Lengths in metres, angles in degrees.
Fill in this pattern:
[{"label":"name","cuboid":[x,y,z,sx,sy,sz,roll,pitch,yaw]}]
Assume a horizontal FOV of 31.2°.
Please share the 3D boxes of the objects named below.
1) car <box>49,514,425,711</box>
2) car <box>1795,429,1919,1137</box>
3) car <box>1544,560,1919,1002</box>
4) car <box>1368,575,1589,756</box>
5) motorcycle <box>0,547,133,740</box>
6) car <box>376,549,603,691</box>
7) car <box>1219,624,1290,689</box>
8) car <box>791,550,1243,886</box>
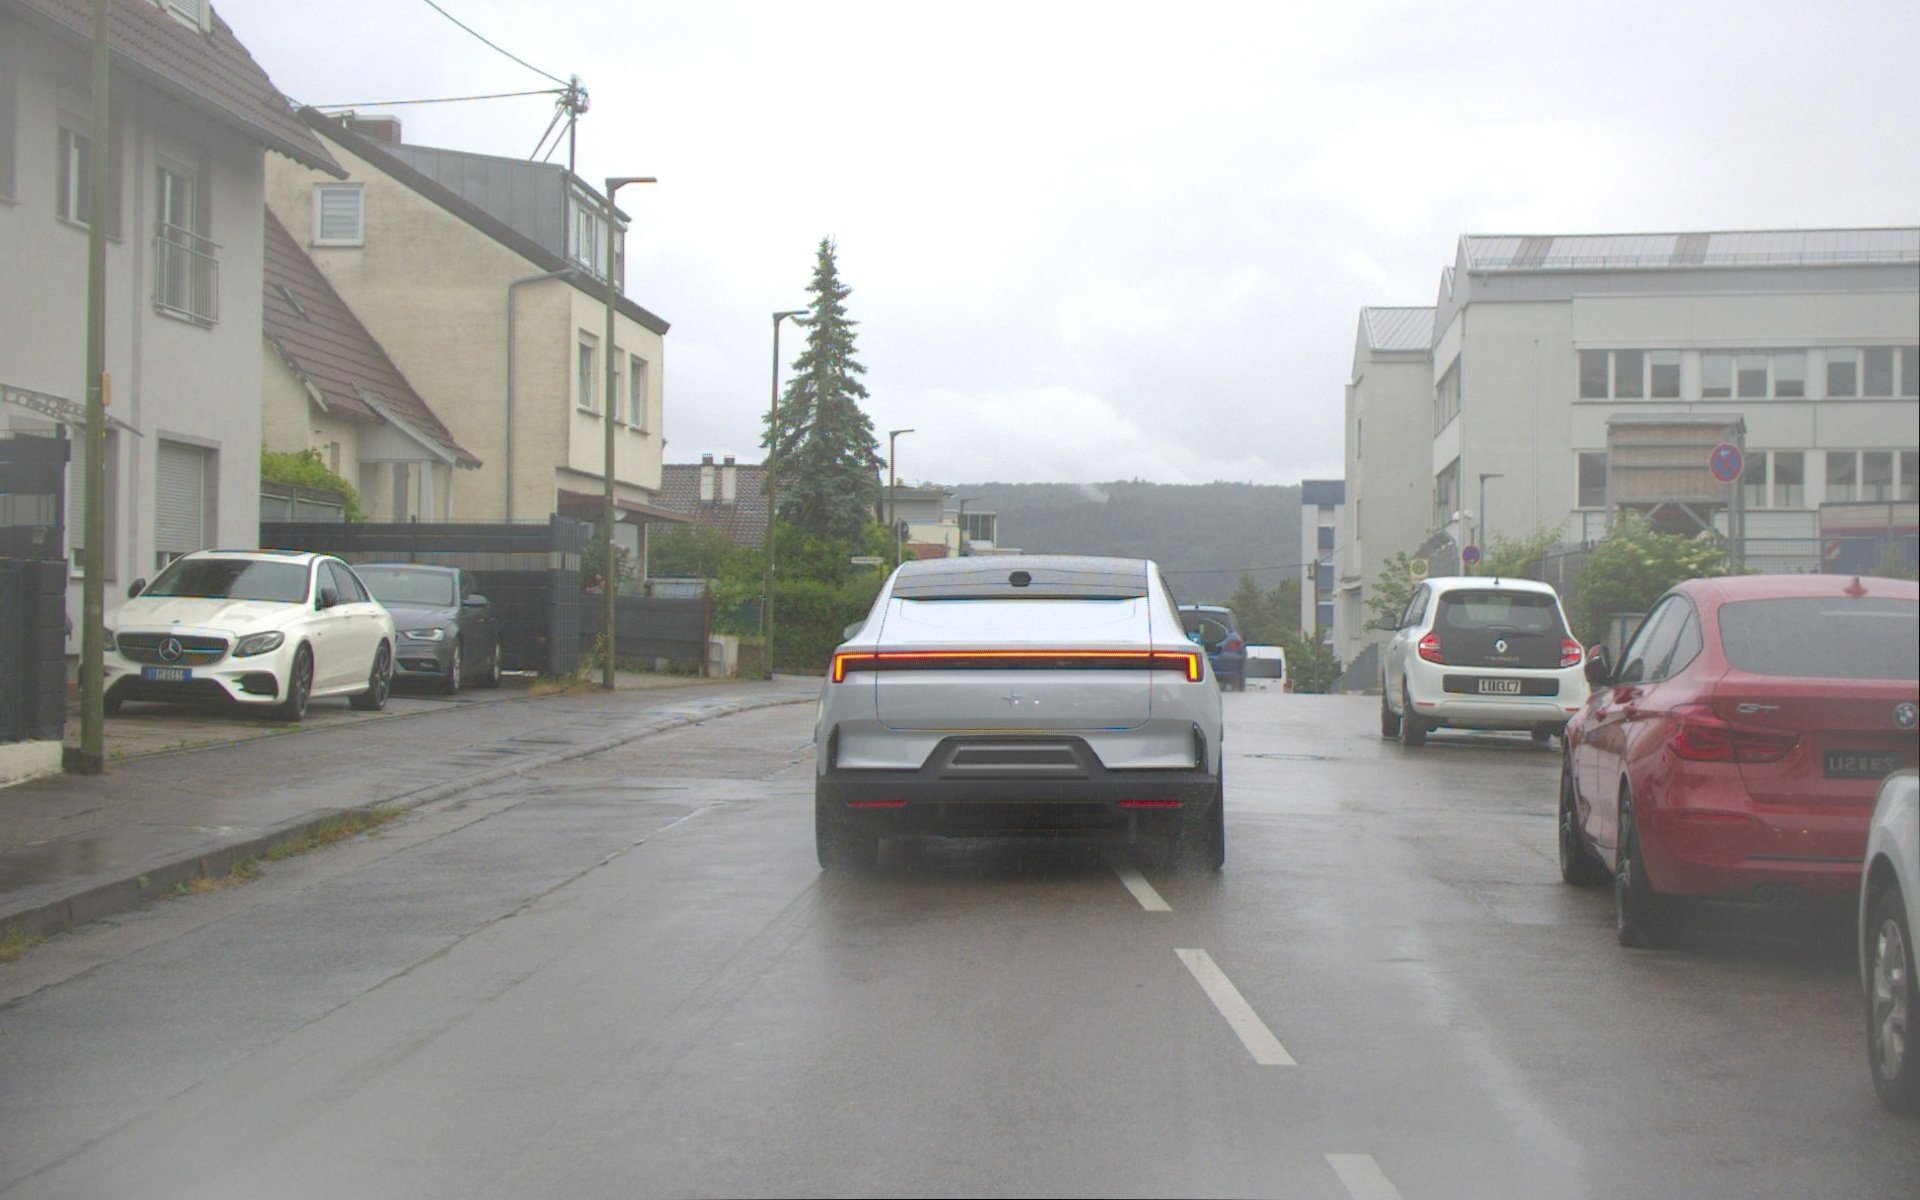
[{"label":"car","cuboid":[-6.385,0.080,30.989,1.994,1.505,4.895,4,1,4]},{"label":"car","cuboid":[3.327,0.496,8.154,1.769,1.819,4.574,2,1,3]},{"label":"car","cuboid":[3.544,0.639,14.788,1.643,1.569,4.643,2,1,5]},{"label":"car","cuboid":[4.807,0.567,32.264,1.681,1.552,3.674,2,1,3]},{"label":"motorcycle","cuboid":[-7.074,0.252,23.970,2.363,1.269,0.736,3,1,4]},{"label":"car","cuboid":[-5.136,0.182,38.081,1.827,1.364,4.570,4,1,0]},{"label":"car","cuboid":[9.690,1.887,113.266,1.993,2.007,3.999,0,-3,0]},{"label":"car","cuboid":[0.444,0.503,18.003,1.994,1.497,4.669,1,1,5]}]
